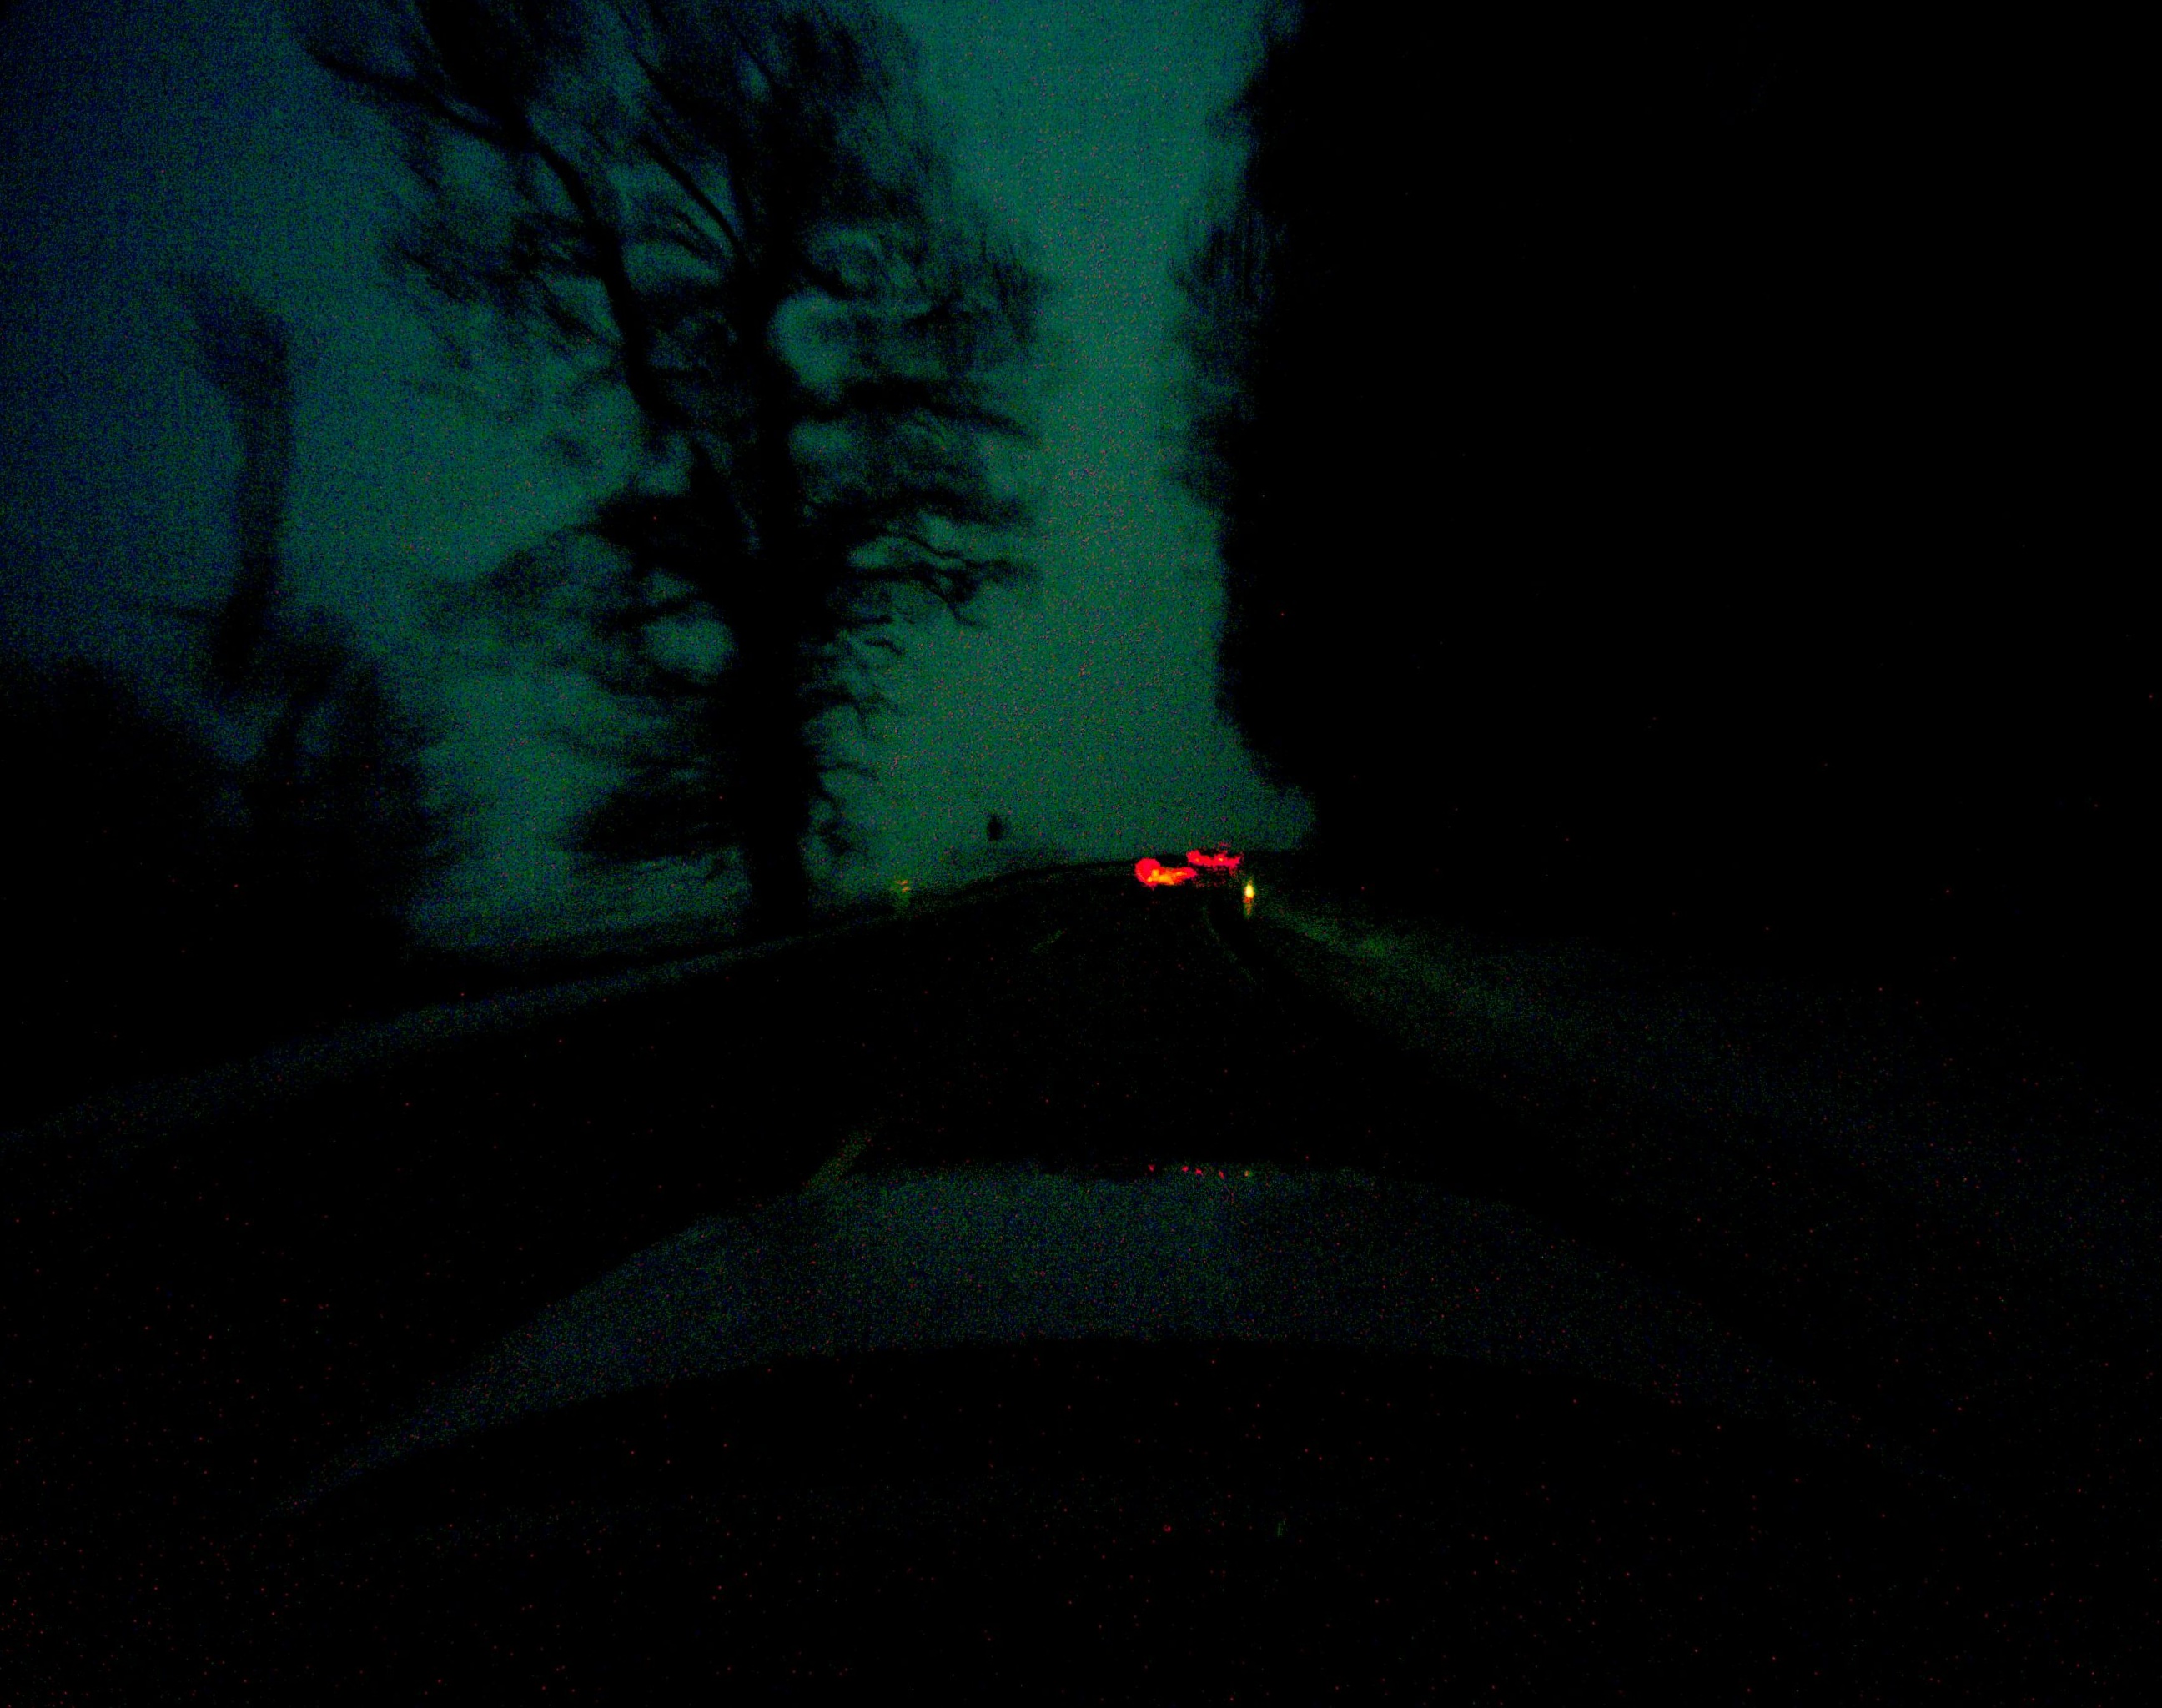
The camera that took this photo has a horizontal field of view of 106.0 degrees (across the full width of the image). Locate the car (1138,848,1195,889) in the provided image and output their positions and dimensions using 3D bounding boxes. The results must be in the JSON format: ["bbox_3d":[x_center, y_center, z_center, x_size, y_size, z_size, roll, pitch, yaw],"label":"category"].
[{"bbox_3d":[3.474,0.531,32.433,1.934,1.381,4.012,-3,1,10],"label":"car"}]

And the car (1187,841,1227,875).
[{"bbox_3d":[7.107,0.164,45.688,1.980,1.782,4.013,-1,1,11],"label":"car"}]
